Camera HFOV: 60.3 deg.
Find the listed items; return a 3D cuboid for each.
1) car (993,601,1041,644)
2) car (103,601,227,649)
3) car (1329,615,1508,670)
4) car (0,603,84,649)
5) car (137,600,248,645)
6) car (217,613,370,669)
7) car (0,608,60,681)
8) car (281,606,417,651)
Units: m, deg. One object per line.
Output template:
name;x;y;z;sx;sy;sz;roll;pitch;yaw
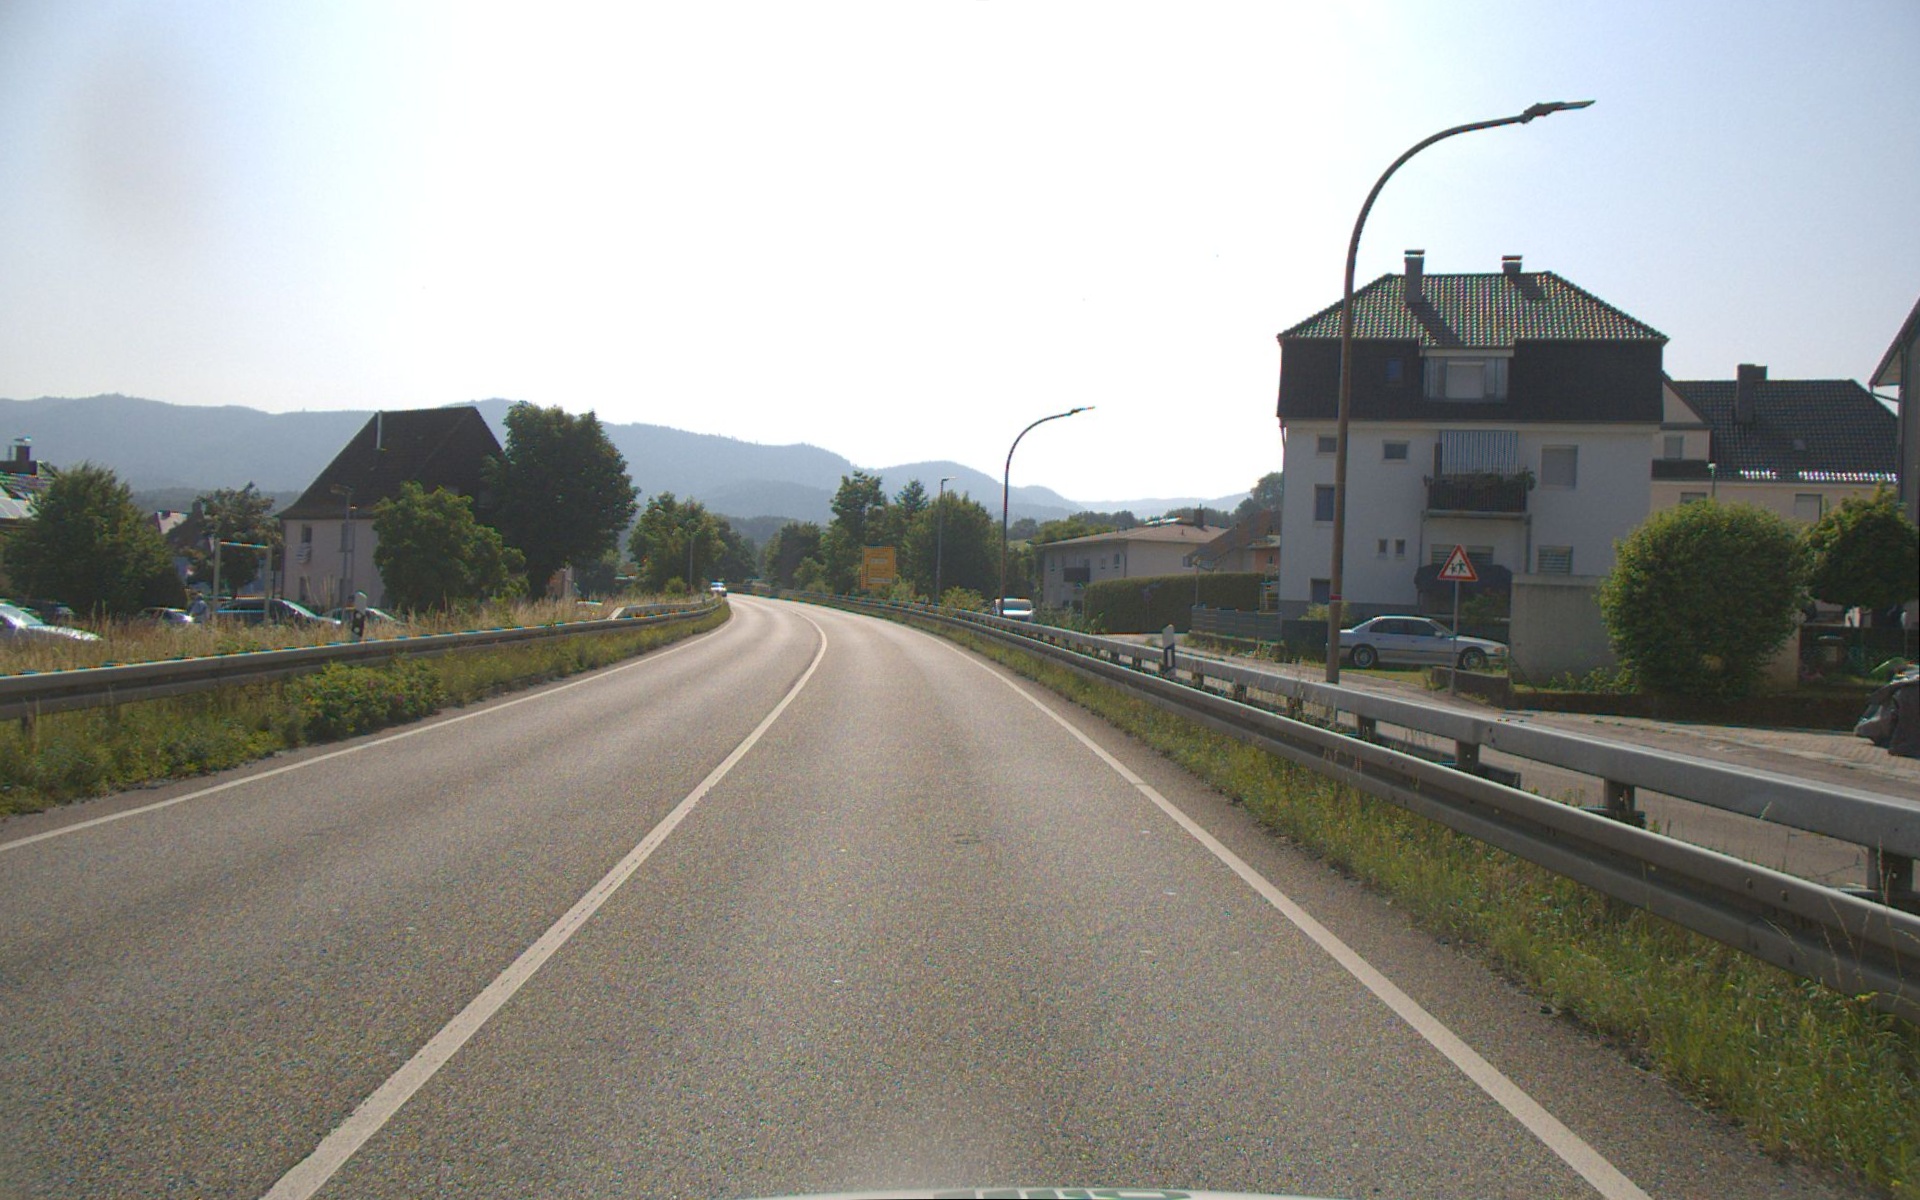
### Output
car;2.802;1.071;81.958;1.953;1.979;5.359;1;0;-2
car;-34.445;1.081;71.703;4.462;1.662;1.863;5;-2;11
car;12.525;1.137;45.217;4.504;1.372;1.754;0;1;24
car;-37.376;0.984;65.395;4.461;1.662;1.863;2;-2;7
car;-34.814;1.015;75.090;4.071;1.662;1.863;5;-2;7
car;-21.639;1.329;53.809;4.217;1.694;1.871;1;0;-7
car;-21.076;0.854;33.586;4.528;1.406;1.740;1;0;-8
car;-22.132;1.013;60.046;4.213;1.531;1.873;1;0;-3
